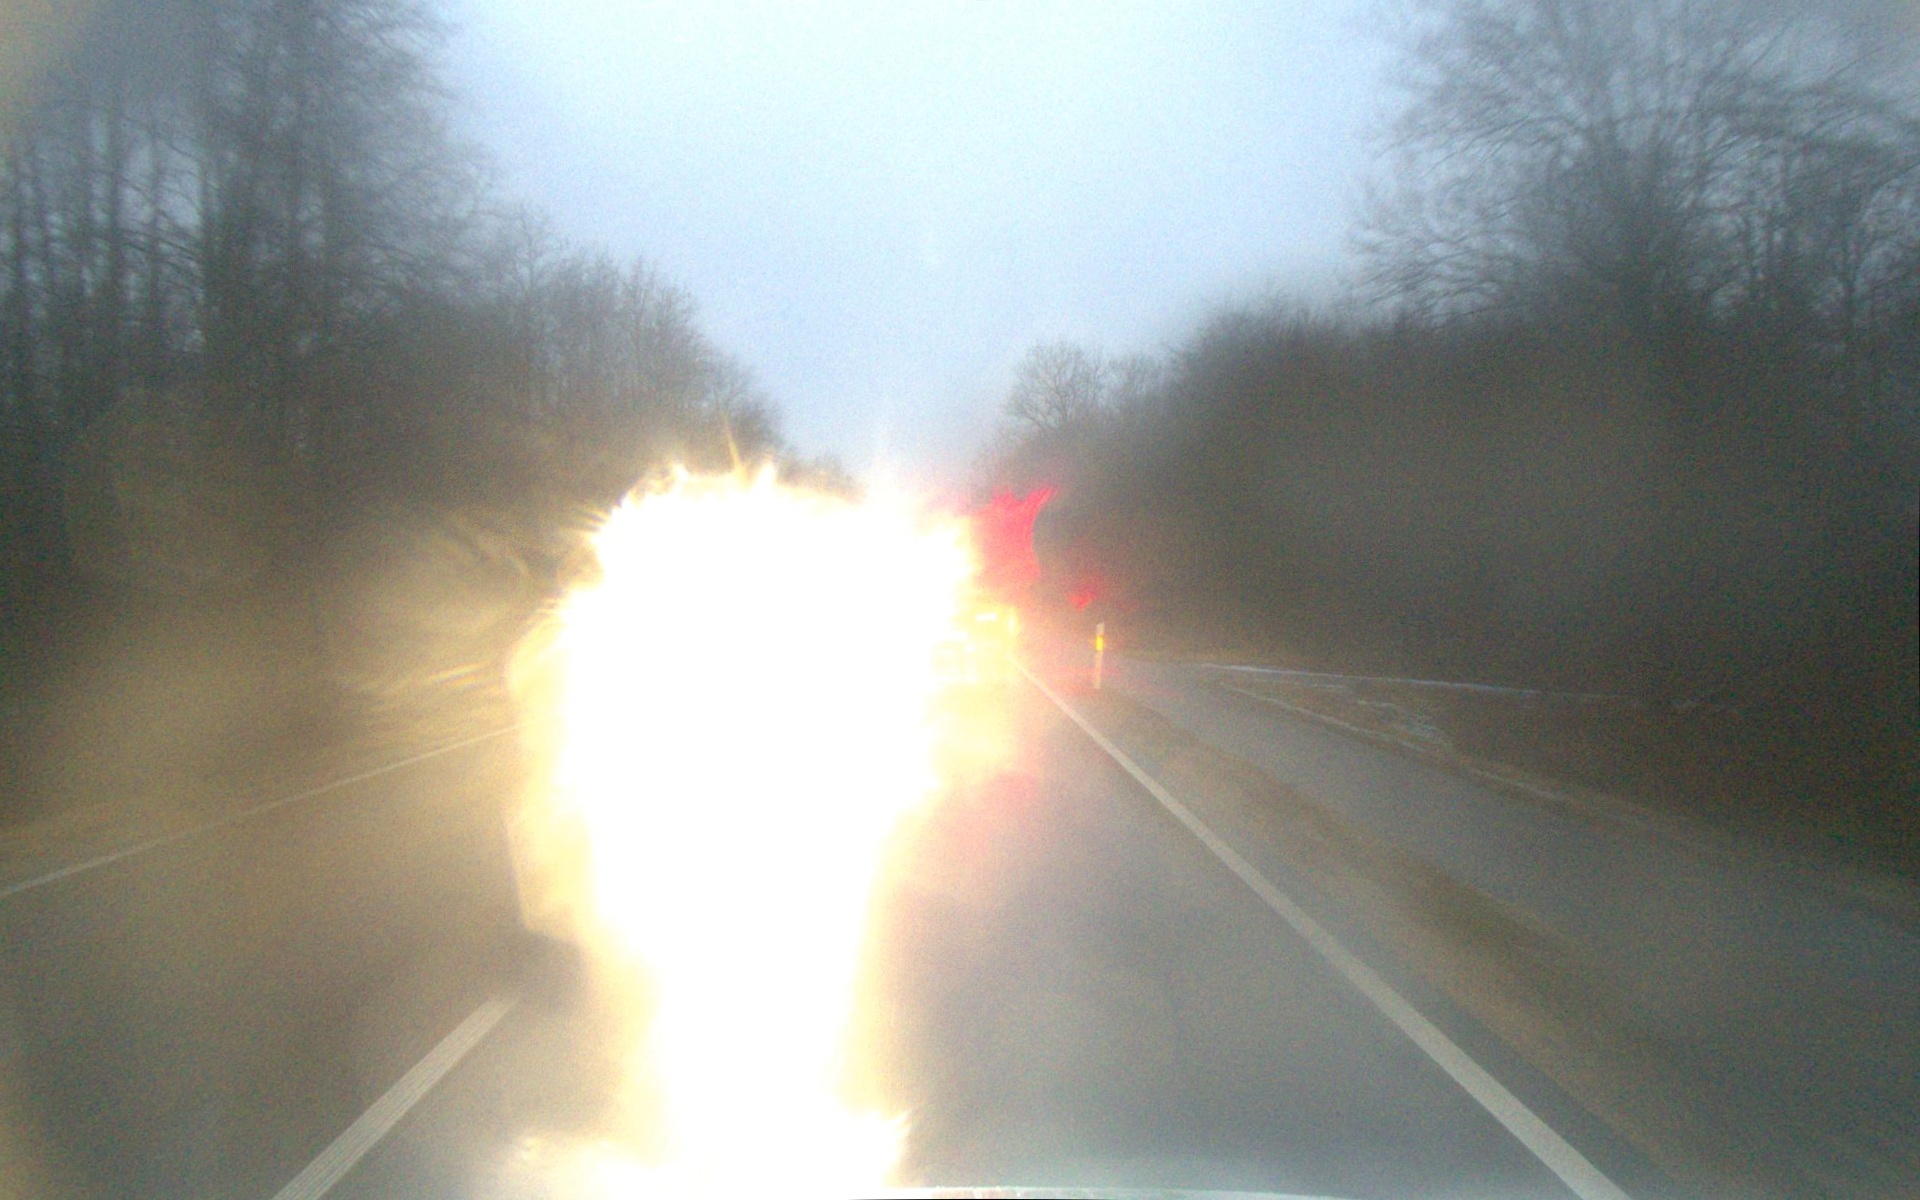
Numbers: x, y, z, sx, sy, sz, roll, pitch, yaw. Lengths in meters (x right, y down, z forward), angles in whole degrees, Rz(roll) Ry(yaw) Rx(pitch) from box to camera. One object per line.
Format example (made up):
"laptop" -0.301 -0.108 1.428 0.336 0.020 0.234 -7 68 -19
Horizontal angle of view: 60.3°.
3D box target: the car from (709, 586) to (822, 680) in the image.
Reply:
"car" -3.620 0.585 31.366 1.706 1.664 3.999 0 0 -1

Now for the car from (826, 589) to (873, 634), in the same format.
"car" -4.089 0.407 61.682 1.549 1.577 3.999 -2 0 -1

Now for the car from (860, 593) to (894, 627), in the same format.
"car" -4.627 0.563 92.807 1.671 1.854 4.284 -1 0 -1
